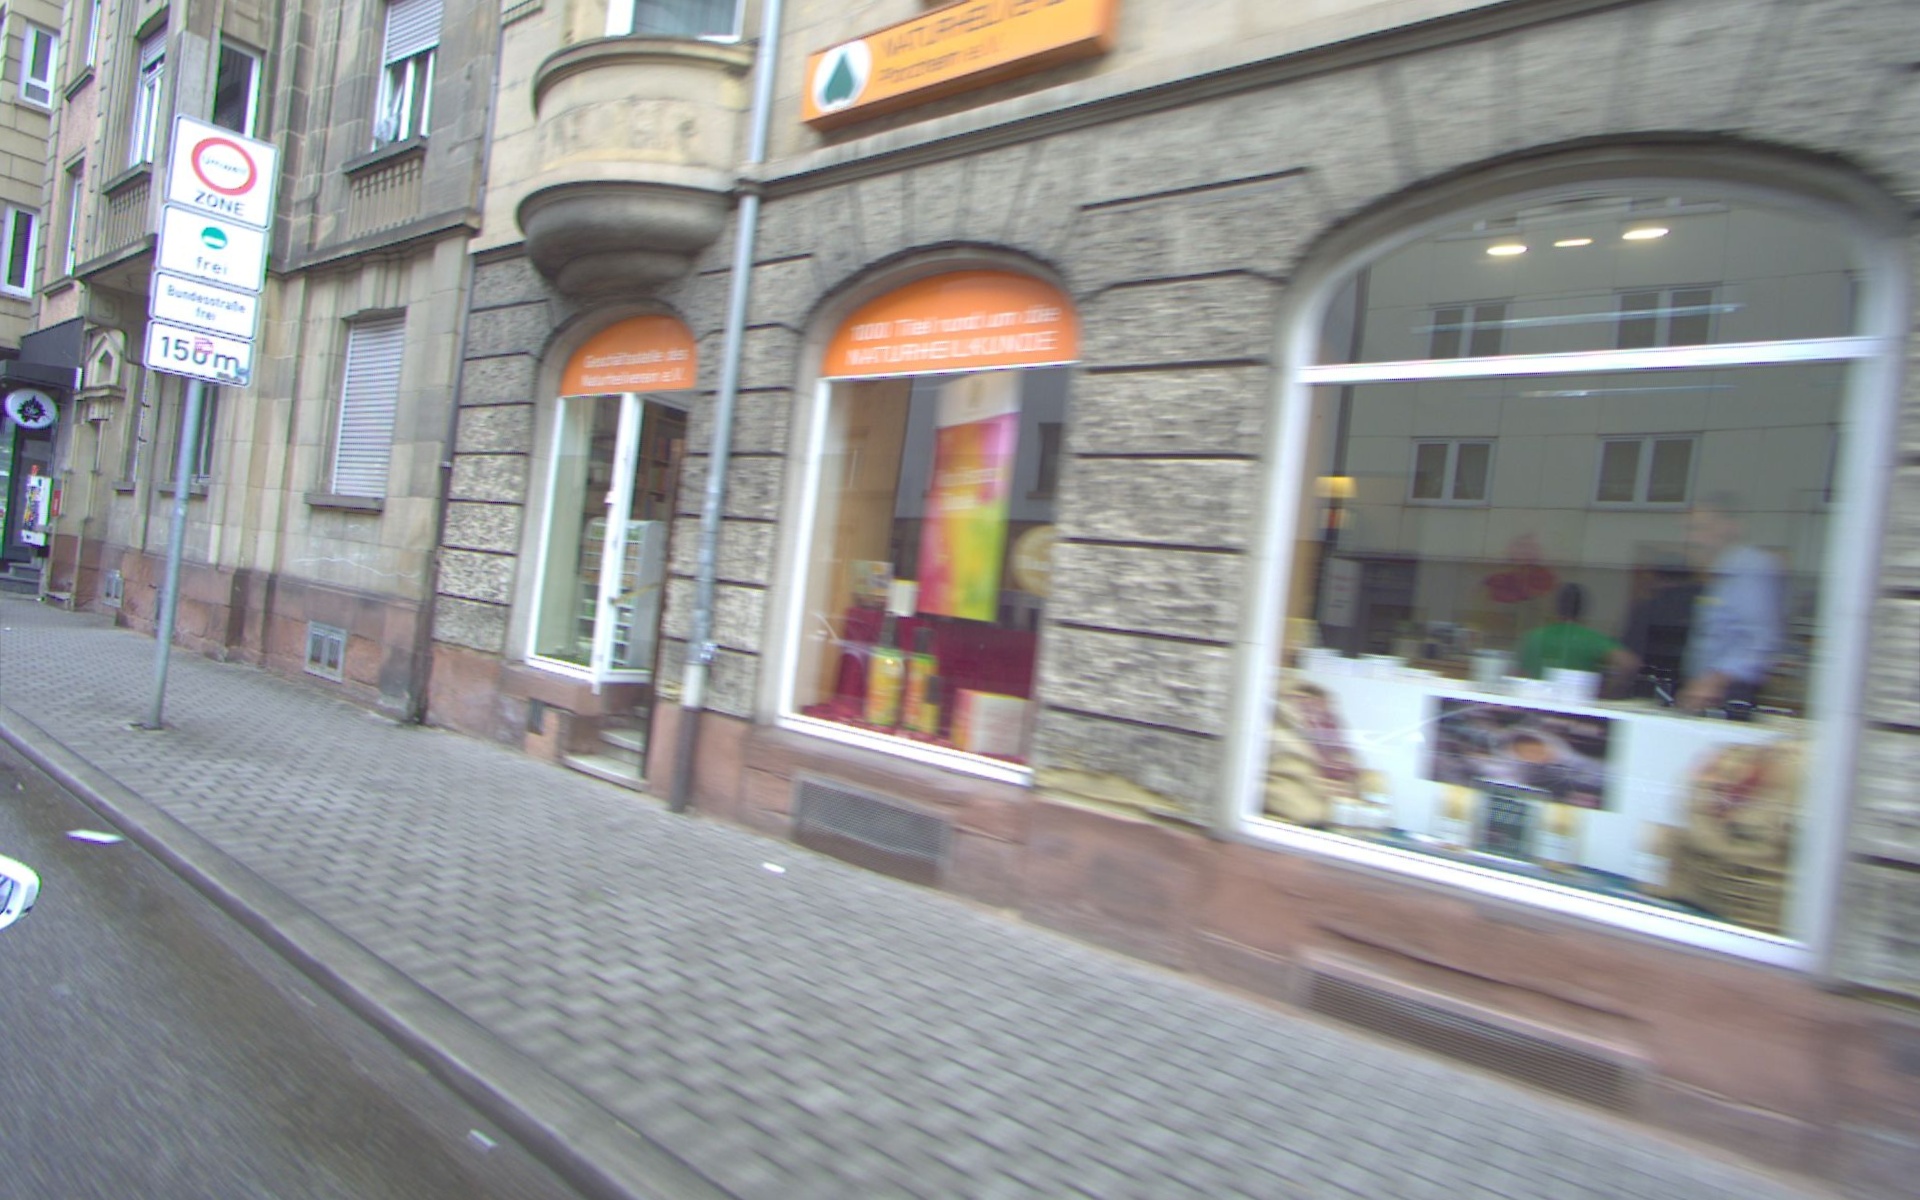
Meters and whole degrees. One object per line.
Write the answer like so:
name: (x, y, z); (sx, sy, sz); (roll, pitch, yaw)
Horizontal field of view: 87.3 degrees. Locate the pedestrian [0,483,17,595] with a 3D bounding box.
pedestrian: (-15.986, -1.028, 16.313); (0.783, 1.801, 0.744); (6, 0, 34)
